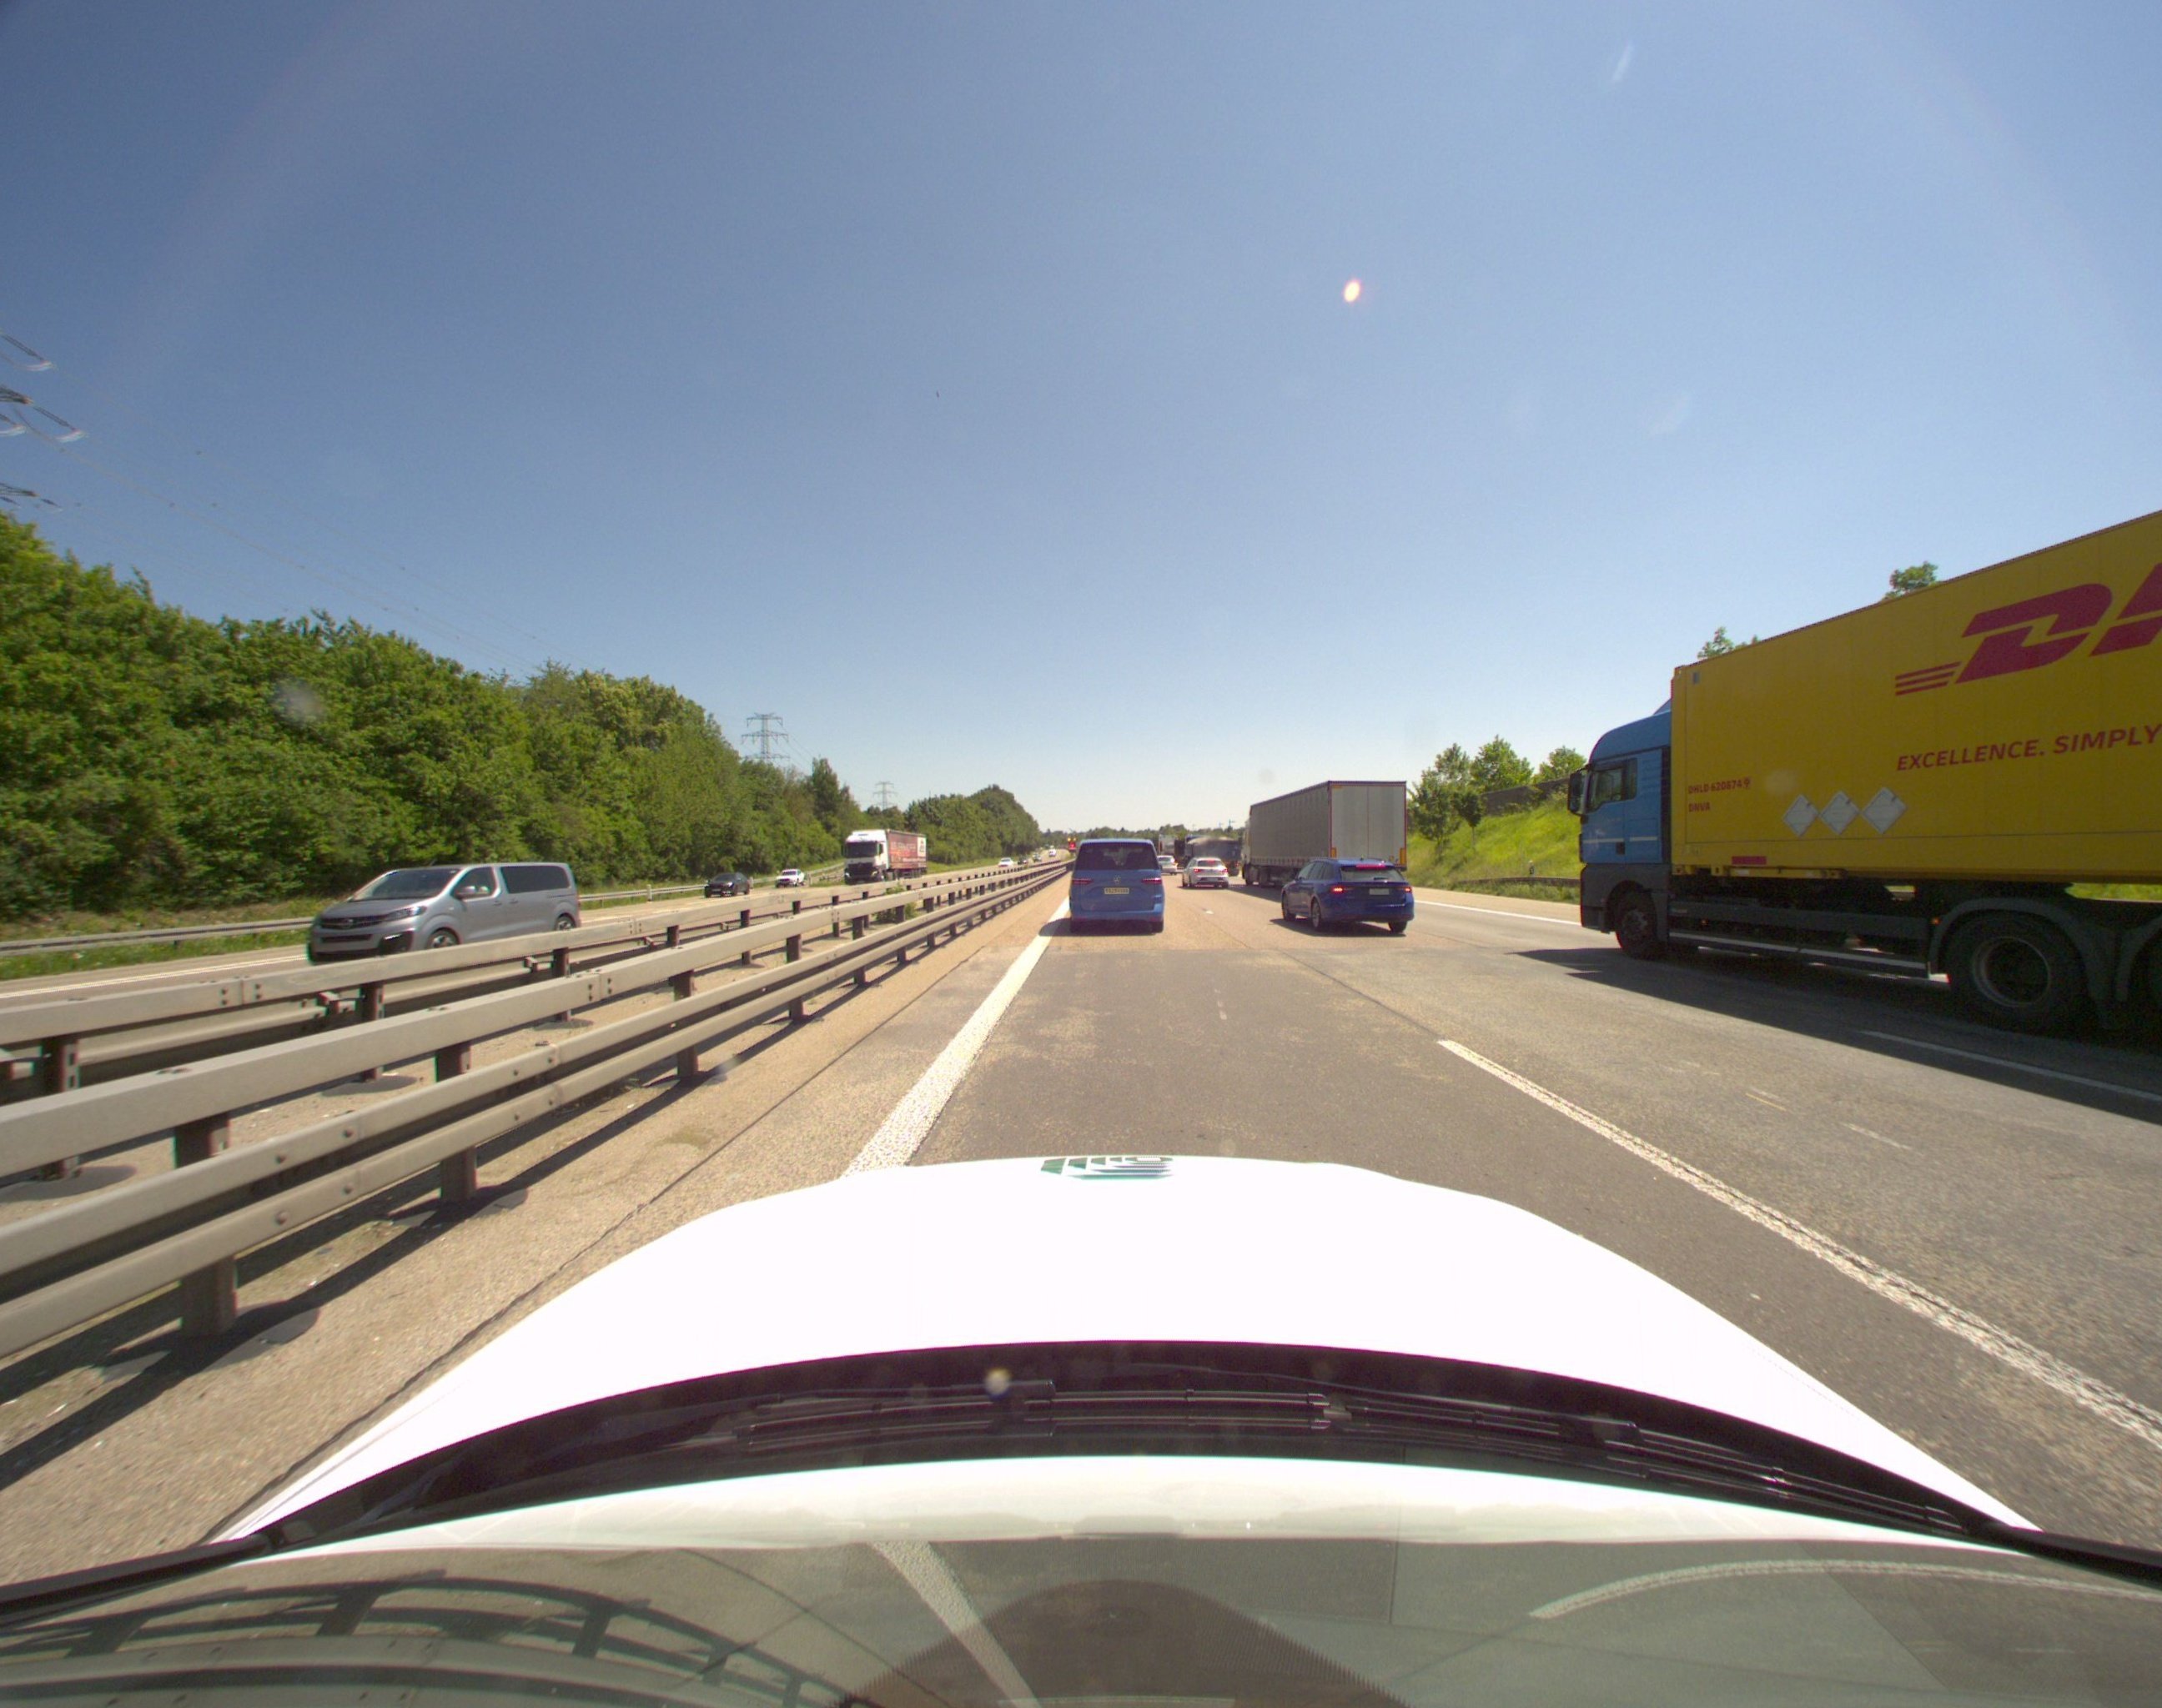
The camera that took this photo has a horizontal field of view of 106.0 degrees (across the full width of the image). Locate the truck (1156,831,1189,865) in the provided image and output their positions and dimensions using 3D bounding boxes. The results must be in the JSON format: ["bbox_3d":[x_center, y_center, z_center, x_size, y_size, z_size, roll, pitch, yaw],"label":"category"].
[{"bbox_3d":[11.289,-0.638,100.752,3.611,4.095,7.529,0,-1,3],"label":"truck"}]

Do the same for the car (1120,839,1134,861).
[{"bbox_3d":[11.435,-0.895,201.896,3.207,5.257,8.144,0,-1,1],"label":"car"}]

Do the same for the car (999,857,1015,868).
[{"bbox_3d":[-10.240,1.132,113.038,1.845,1.467,4.303,-2,-1,0],"label":"car"}]

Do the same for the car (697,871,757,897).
[{"bbox_3d":[-22.807,1.884,52.734,1.991,1.576,5.264,0,-1,-6],"label":"car"}]

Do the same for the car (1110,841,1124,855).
[{"bbox_3d":[7.167,-1.189,163.407,2.542,2.717,5.621,0,-1,1],"label":"car"}]

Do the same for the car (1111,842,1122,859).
[{"bbox_3d":[11.368,-1.094,259.879,3.208,5.257,8.142,0,-1,0],"label":"car"}]

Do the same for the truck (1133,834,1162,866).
[{"bbox_3d":[11.336,-0.512,140.803,3.610,5.213,15.684,0,-1,0],"label":"truck"}]

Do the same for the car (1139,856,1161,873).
[{"bbox_3d":[6.265,0.950,74.200,1.774,1.524,4.000,0,-1,1],"label":"car"}]

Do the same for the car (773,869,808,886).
[{"bbox_3d":[-25.216,2.032,70.779,1.682,1.456,4.340,0,-1,-3],"label":"car"}]

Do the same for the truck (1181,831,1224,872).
[{"bbox_3d":[10.327,-0.269,69.934,2.734,3.311,7.135,0,1,1],"label":"truck"}]

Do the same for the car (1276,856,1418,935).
[{"bbox_3d":[5.433,0.799,17.238,1.700,1.441,4.429,0,-1,2],"label":"car"}]

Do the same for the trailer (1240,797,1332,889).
[{"bbox_3d":[9.717,-0.501,39.290,2.914,4.044,6.412,0,0,1],"label":"trailer"}]

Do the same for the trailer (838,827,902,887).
[{"bbox_3d":[-15.145,0.218,58.882,2.747,3.976,6.133,-3,0,1],"label":"trailer"}]

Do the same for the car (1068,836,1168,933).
[{"bbox_3d":[0.793,0.613,17.526,1.894,1.838,4.002,0,-1,2],"label":"car"}]

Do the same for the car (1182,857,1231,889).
[{"bbox_3d":[5.795,0.846,37.959,1.860,1.361,4.002,0,0,2],"label":"car"}]

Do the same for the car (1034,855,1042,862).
[{"bbox_3d":[-9.621,1.047,182.256,1.767,1.631,3.950,0,-1,0],"label":"car"}]

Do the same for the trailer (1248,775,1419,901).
[{"bbox_3d":[9.554,-0.498,33.130,2.951,4.049,13.755,0,0,1],"label":"trailer"}]

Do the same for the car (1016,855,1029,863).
[{"bbox_3d":[-10.347,0.892,144.741,1.870,1.446,4.144,-2,-1,0],"label":"car"}]

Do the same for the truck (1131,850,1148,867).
[{"bbox_3d":[6.604,0.566,92.072,1.719,1.857,4.000,0,-1,1],"label":"truck"}]

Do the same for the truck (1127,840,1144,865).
[{"bbox_3d":[11.092,-0.270,166.980,3.057,4.920,10.690,0,-1,1],"label":"truck"}]

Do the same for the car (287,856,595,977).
[{"bbox_3d":[-12.059,1.073,15.916,1.986,1.941,4.899,-2,-1,2],"label":"car"}]

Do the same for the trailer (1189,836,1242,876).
[{"bbox_3d":[10.158,0.065,62.486,2.734,2.836,9.118,0,1,1],"label":"trailer"}]

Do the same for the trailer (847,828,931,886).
[{"bbox_3d":[-15.020,0.191,65.308,2.753,3.976,14.684,-3,0,1],"label":"trailer"}]

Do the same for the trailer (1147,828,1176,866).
[{"bbox_3d":[11.435,-0.884,117.055,3.631,5.136,13.085,0,-1,3],"label":"trailer"}]

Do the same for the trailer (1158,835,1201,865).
[{"bbox_3d":[10.941,-0.278,91.928,3.632,3.079,15.781,0,-1,3],"label":"trailer"}]

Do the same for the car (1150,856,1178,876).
[{"bbox_3d":[6.382,0.913,62.839,1.834,1.454,4.000,0,-1,1],"label":"car"}]

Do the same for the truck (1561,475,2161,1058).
[{"bbox_3d":[9.072,-0.604,8.283,2.755,4.109,9.955,0,0,1],"label":"truck"}]
